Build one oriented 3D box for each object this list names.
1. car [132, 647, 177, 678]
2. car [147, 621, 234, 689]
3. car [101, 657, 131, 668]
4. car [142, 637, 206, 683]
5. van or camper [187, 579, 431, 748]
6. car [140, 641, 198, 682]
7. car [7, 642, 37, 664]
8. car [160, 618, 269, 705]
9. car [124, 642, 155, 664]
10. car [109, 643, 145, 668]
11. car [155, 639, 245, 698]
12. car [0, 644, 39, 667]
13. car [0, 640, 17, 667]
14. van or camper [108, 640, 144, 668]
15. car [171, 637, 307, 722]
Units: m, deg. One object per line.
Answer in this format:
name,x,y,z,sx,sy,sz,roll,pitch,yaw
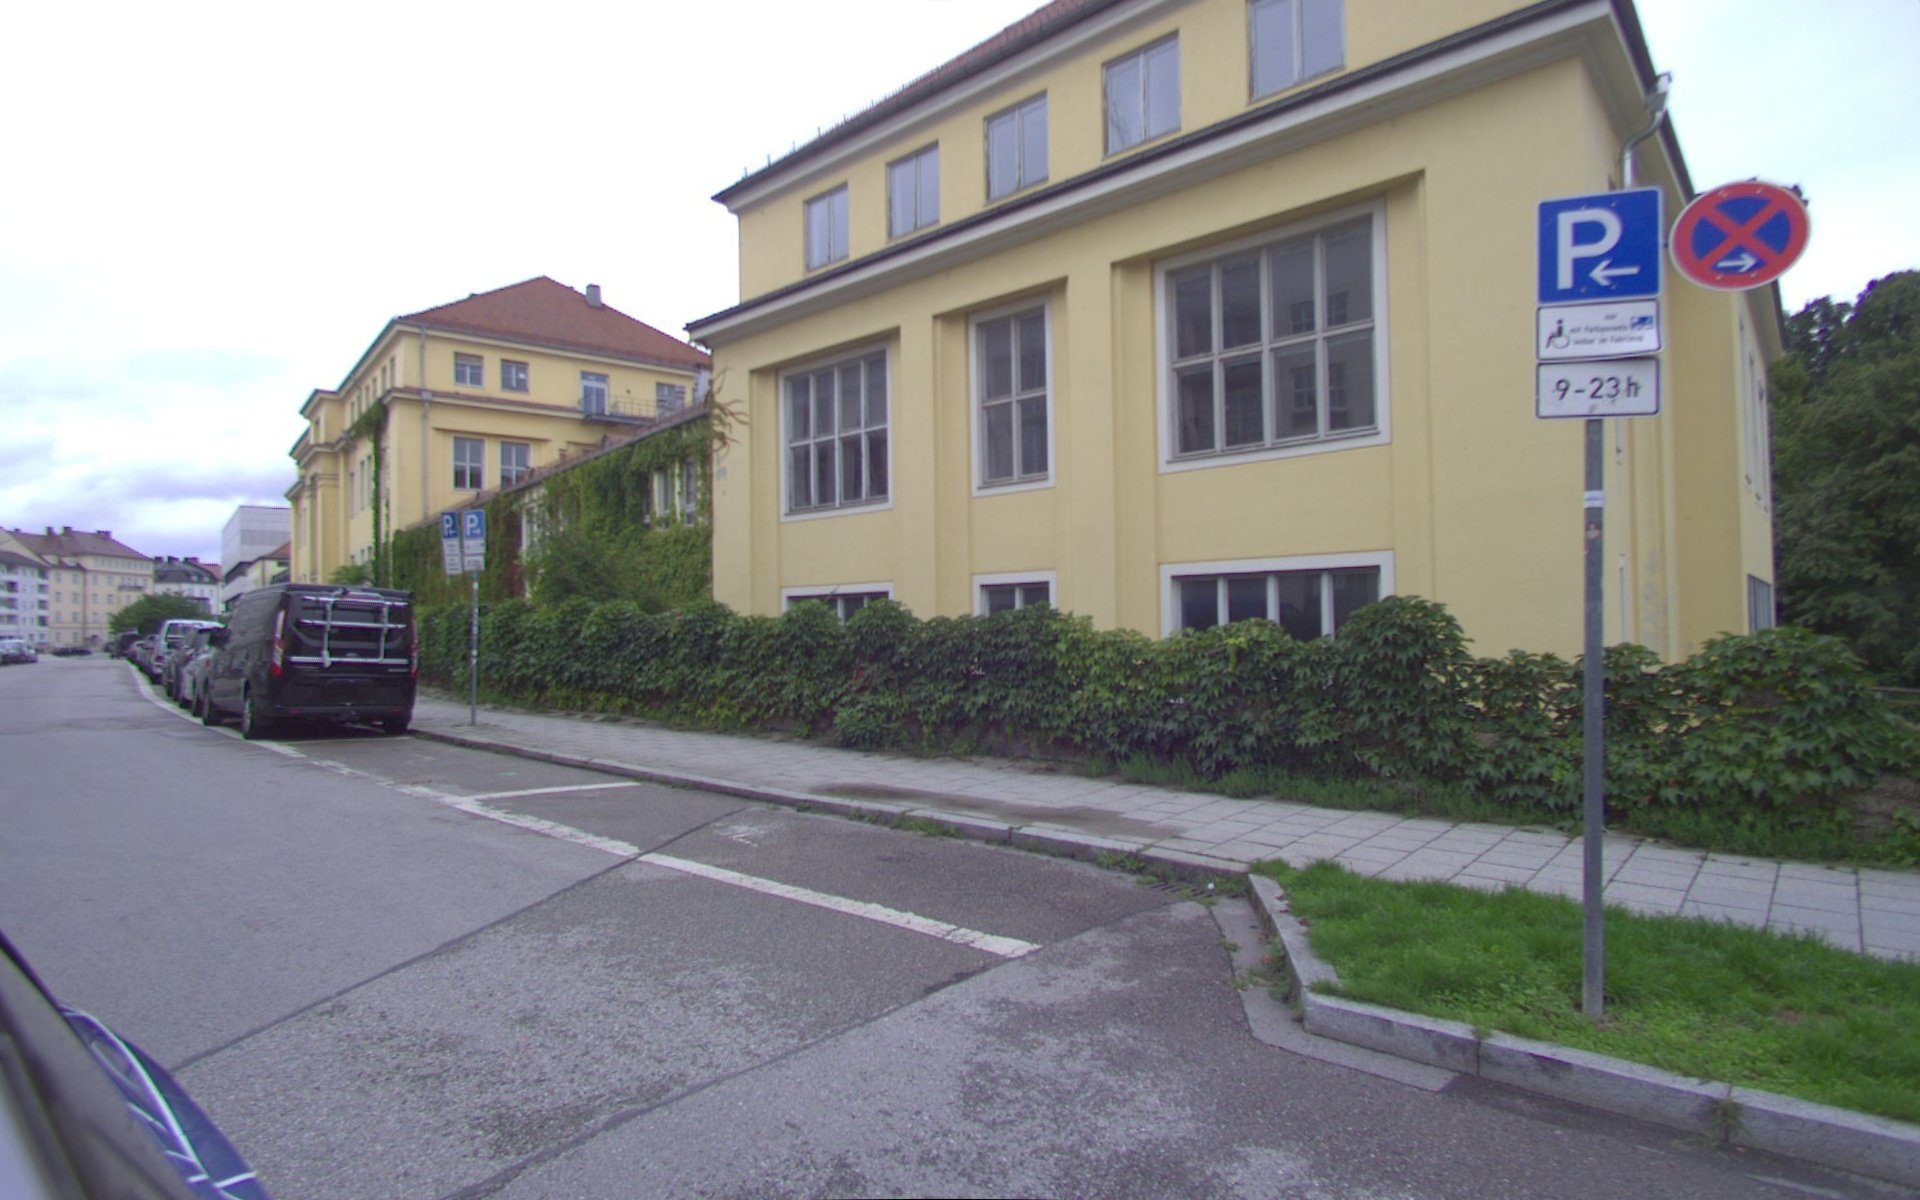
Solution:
car,-45.580,3.512,57.251,1.660,1.646,4.361,1,-2,-43
car,-23.573,1.640,30.934,1.968,1.890,4.767,1,-3,-39
car,-146.961,10.799,176.190,3.936,1.874,2.003,2,-4,-39
car,-27.341,2.043,35.174,1.559,1.504,3.735,1,-3,-41
van or camper,-9.697,0.901,14.908,4.755,2.081,1.938,-3,-4,44
car,-30.370,2.314,38.823,1.559,1.467,3.910,1,-3,-41
car,-73.033,4.111,78.813,1.584,1.655,3.636,1,-3,-41
car,-16.803,1.358,22.735,1.599,1.743,4.431,2,-4,-41
car,-63.782,4.097,78.657,1.654,1.578,4.002,1,-3,-42
car,-52.794,3.498,64.100,1.659,1.507,3.992,4,-4,-40
car,-20.243,1.762,26.887,1.680,1.433,4.432,1,-3,-40
car,-62.172,3.654,66.834,1.670,1.462,4.091,1,-2,-38
car,-58.522,3.230,61.507,1.671,1.595,4.088,1,-3,-42
van or camper,-87.504,5.721,106.161,5.572,2.829,2.112,-3,-5,43
car,-13.436,1.403,18.771,1.600,1.388,4.077,1,-3,-42
